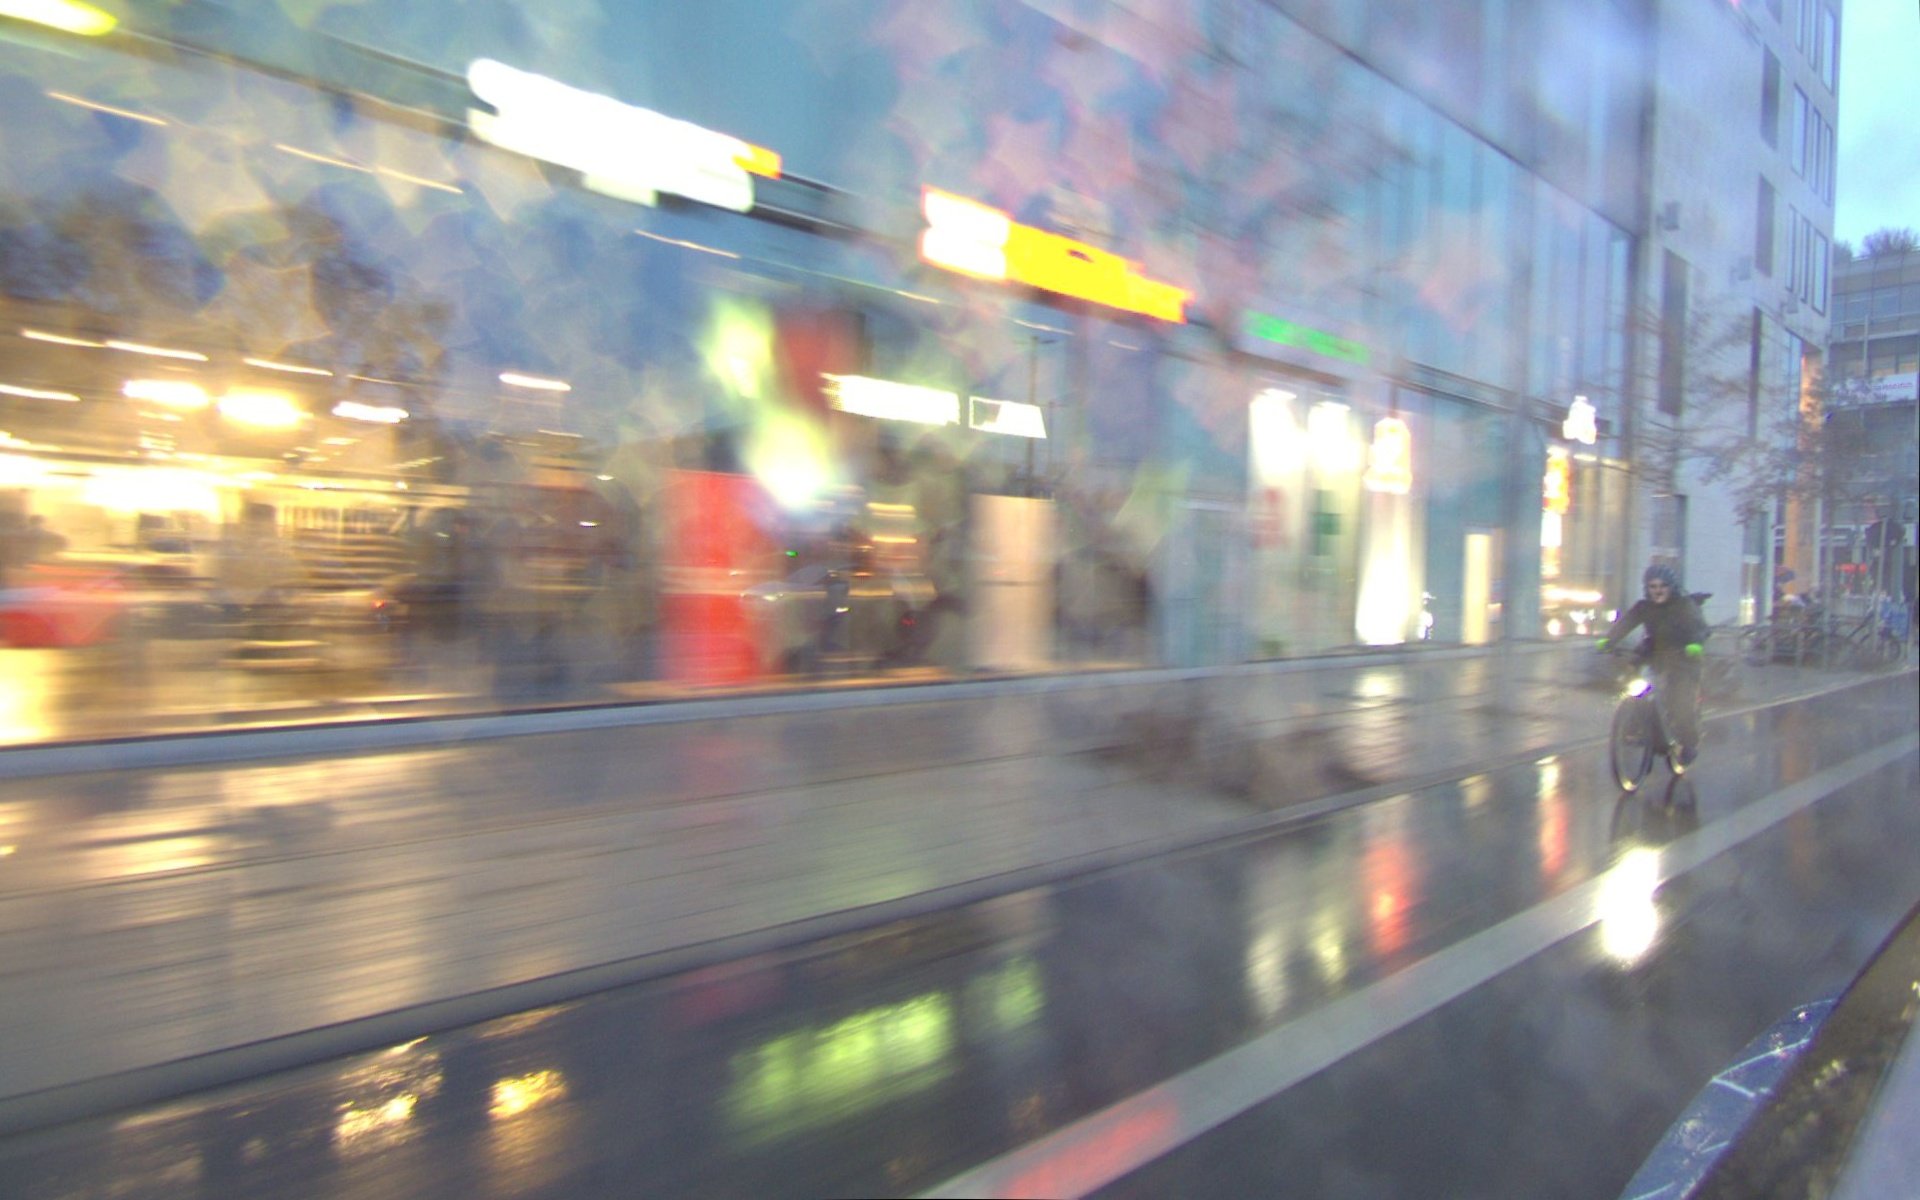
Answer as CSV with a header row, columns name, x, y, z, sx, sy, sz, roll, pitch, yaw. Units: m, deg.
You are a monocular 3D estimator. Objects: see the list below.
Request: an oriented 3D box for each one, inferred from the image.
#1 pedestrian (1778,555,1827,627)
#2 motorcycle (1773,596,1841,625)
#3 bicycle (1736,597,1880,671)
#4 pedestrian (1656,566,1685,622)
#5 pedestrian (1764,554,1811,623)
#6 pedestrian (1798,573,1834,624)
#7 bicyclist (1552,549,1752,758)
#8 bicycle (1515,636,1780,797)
name,x,y,z,sx,sy,sz,roll,pitch,yaw
pedestrian,26.376,-0.288,31.696,0.696,2.219,0.963,0,1,-27
motorcycle,27.383,0.330,32.720,0.387,0.901,1.637,1,0,-37
bicycle,15.695,0.598,18.779,0.654,1.189,1.909,0,3,-38
pedestrian,23.501,-0.194,33.474,0.612,1.828,0.616,1,0,-38
pedestrian,26.676,-0.372,32.631,0.569,2.188,0.969,0,1,-27
pedestrian,27.768,-0.041,32.826,0.492,1.628,0.779,1,0,-38
bicyclist,5.361,0.367,7.855,1.046,1.481,0.946,0,1,-33
bicycle,5.406,0.830,7.919,2.197,1.012,0.946,0,1,-33
